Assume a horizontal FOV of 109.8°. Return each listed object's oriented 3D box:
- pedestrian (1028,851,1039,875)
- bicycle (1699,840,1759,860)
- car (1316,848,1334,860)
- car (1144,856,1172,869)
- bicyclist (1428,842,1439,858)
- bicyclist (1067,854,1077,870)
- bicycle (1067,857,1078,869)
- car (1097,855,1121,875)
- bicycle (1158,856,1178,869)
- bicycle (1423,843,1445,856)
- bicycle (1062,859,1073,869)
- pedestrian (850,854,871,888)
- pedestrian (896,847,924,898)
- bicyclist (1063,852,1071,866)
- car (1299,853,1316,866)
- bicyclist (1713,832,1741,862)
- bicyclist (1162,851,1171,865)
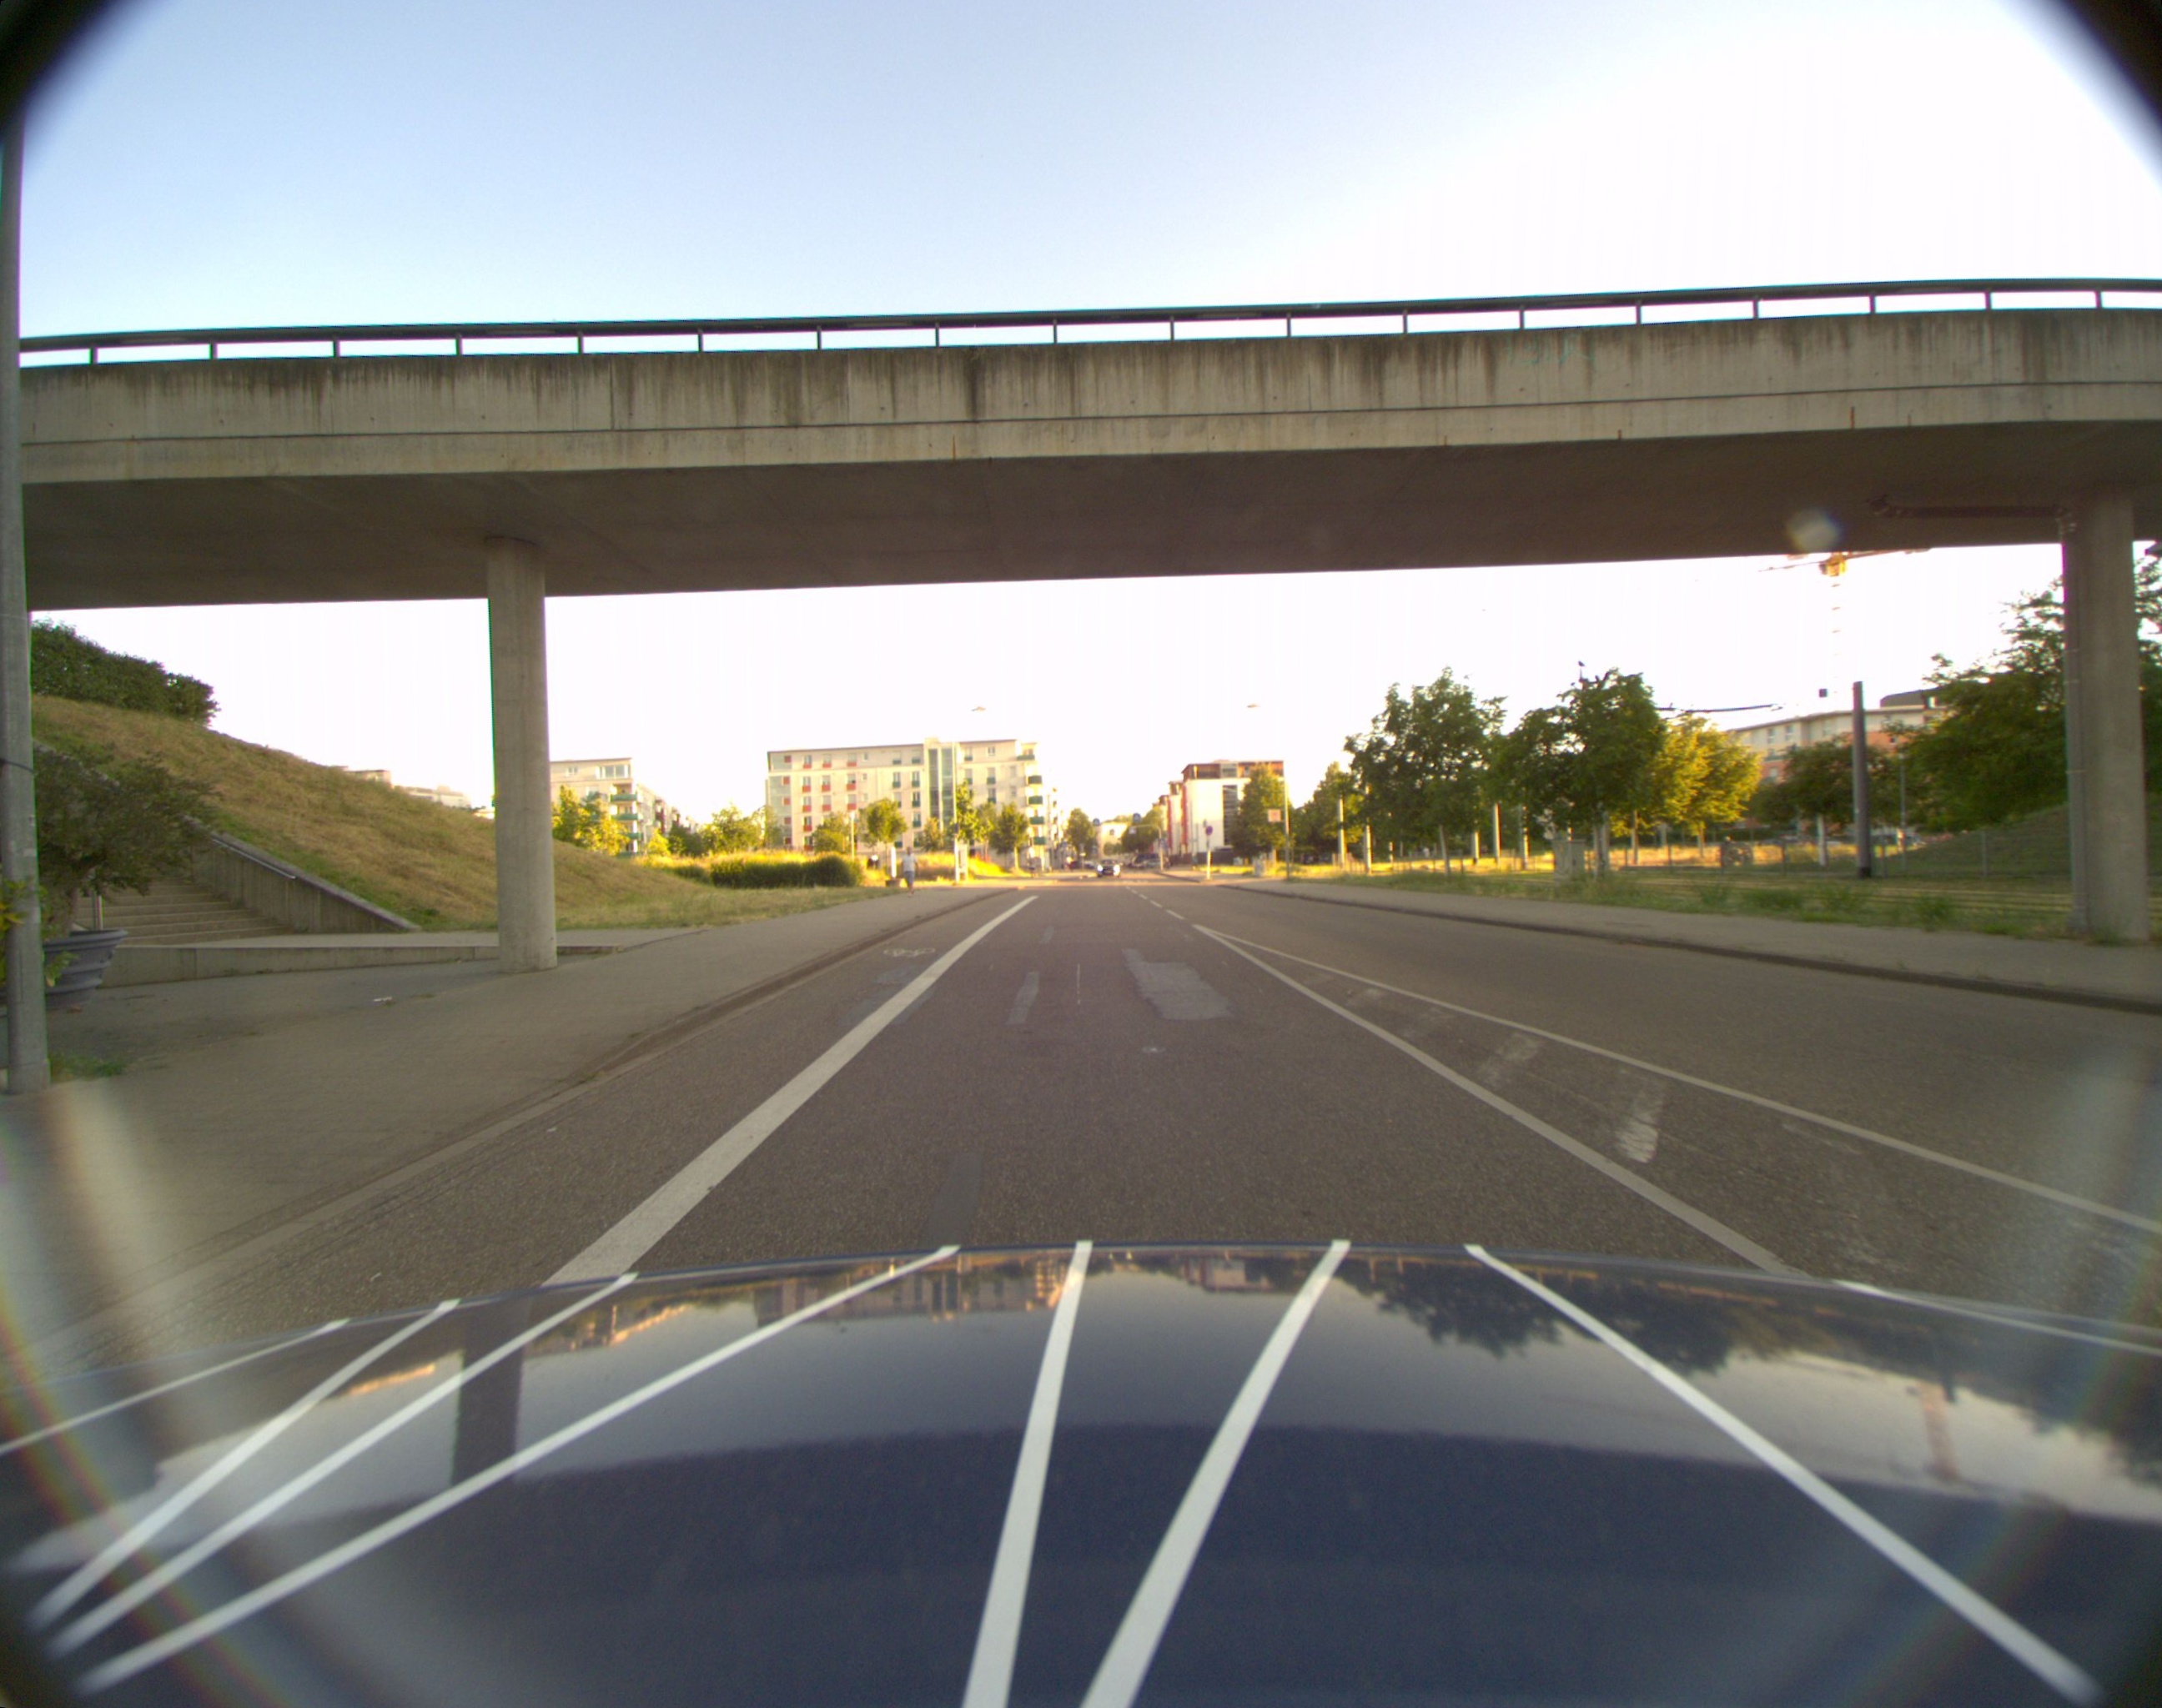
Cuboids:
[{"bbox_3d":[-3.303,0.620,52.876,0.737,1.714,0.532,0,0,1],"label":"pedestrian"},{"bbox_3d":[35.510,-0.196,41.638,2.842,1.002,0.655,-2,0,-3],"label":"bicycle"},{"bbox_3d":[31.068,0.003,96.849,1.942,1.521,4.004,-2,0,14],"label":"car"},{"bbox_3d":[11.558,1.242,113.870,3.996,1.718,2.000,-2,0,2],"label":"car"},{"bbox_3d":[41.951,-0.493,90.473,1.036,1.865,0.881,-1,1,-39],"label":"bicyclist"},{"bbox_3d":[-0.868,0.767,75.347,0.932,1.585,1.068,-2,0,-1],"label":"bicyclist"},{"bbox_3d":[-0.869,0.900,75.598,0.900,1.142,3.497,-2,0,-3],"label":"bicycle"},{"bbox_3d":[2.092,0.803,57.455,1.739,1.455,4.000,-2,0,1],"label":"car"},{"bbox_3d":[10.763,1.022,93.959,1.019,1.560,3.537,-2,0,-20],"label":"bicycle"},{"bbox_3d":[42.108,-0.518,90.580,3.327,1.483,0.885,-2,0,-38],"label":"bicycle"},{"bbox_3d":[-1.753,1.269,96.188,0.661,1.217,2.442,-2,0,16],"label":"bicycle"},{"bbox_3d":[-10.814,0.824,37.332,0.737,1.620,0.859,0,0,2],"label":"pedestrian"},{"bbox_3d":[-5.952,0.634,26.446,0.737,1.714,0.906,0,0,1],"label":"pedestrian"},{"bbox_3d":[-1.736,0.630,96.158,0.696,1.630,0.853,-2,0,15],"label":"bicyclist"},{"bbox_3d":[28.979,0.693,97.256,1.942,1.521,4.004,-2,0,14],"label":"car"},{"bbox_3d":[35.533,-0.382,41.792,0.910,1.622,0.717,-2,0,-5],"label":"bicyclist"},{"bbox_3d":[10.589,0.482,94.083,0.859,1.653,0.918,-2,0,-16],"label":"bicyclist"}]
